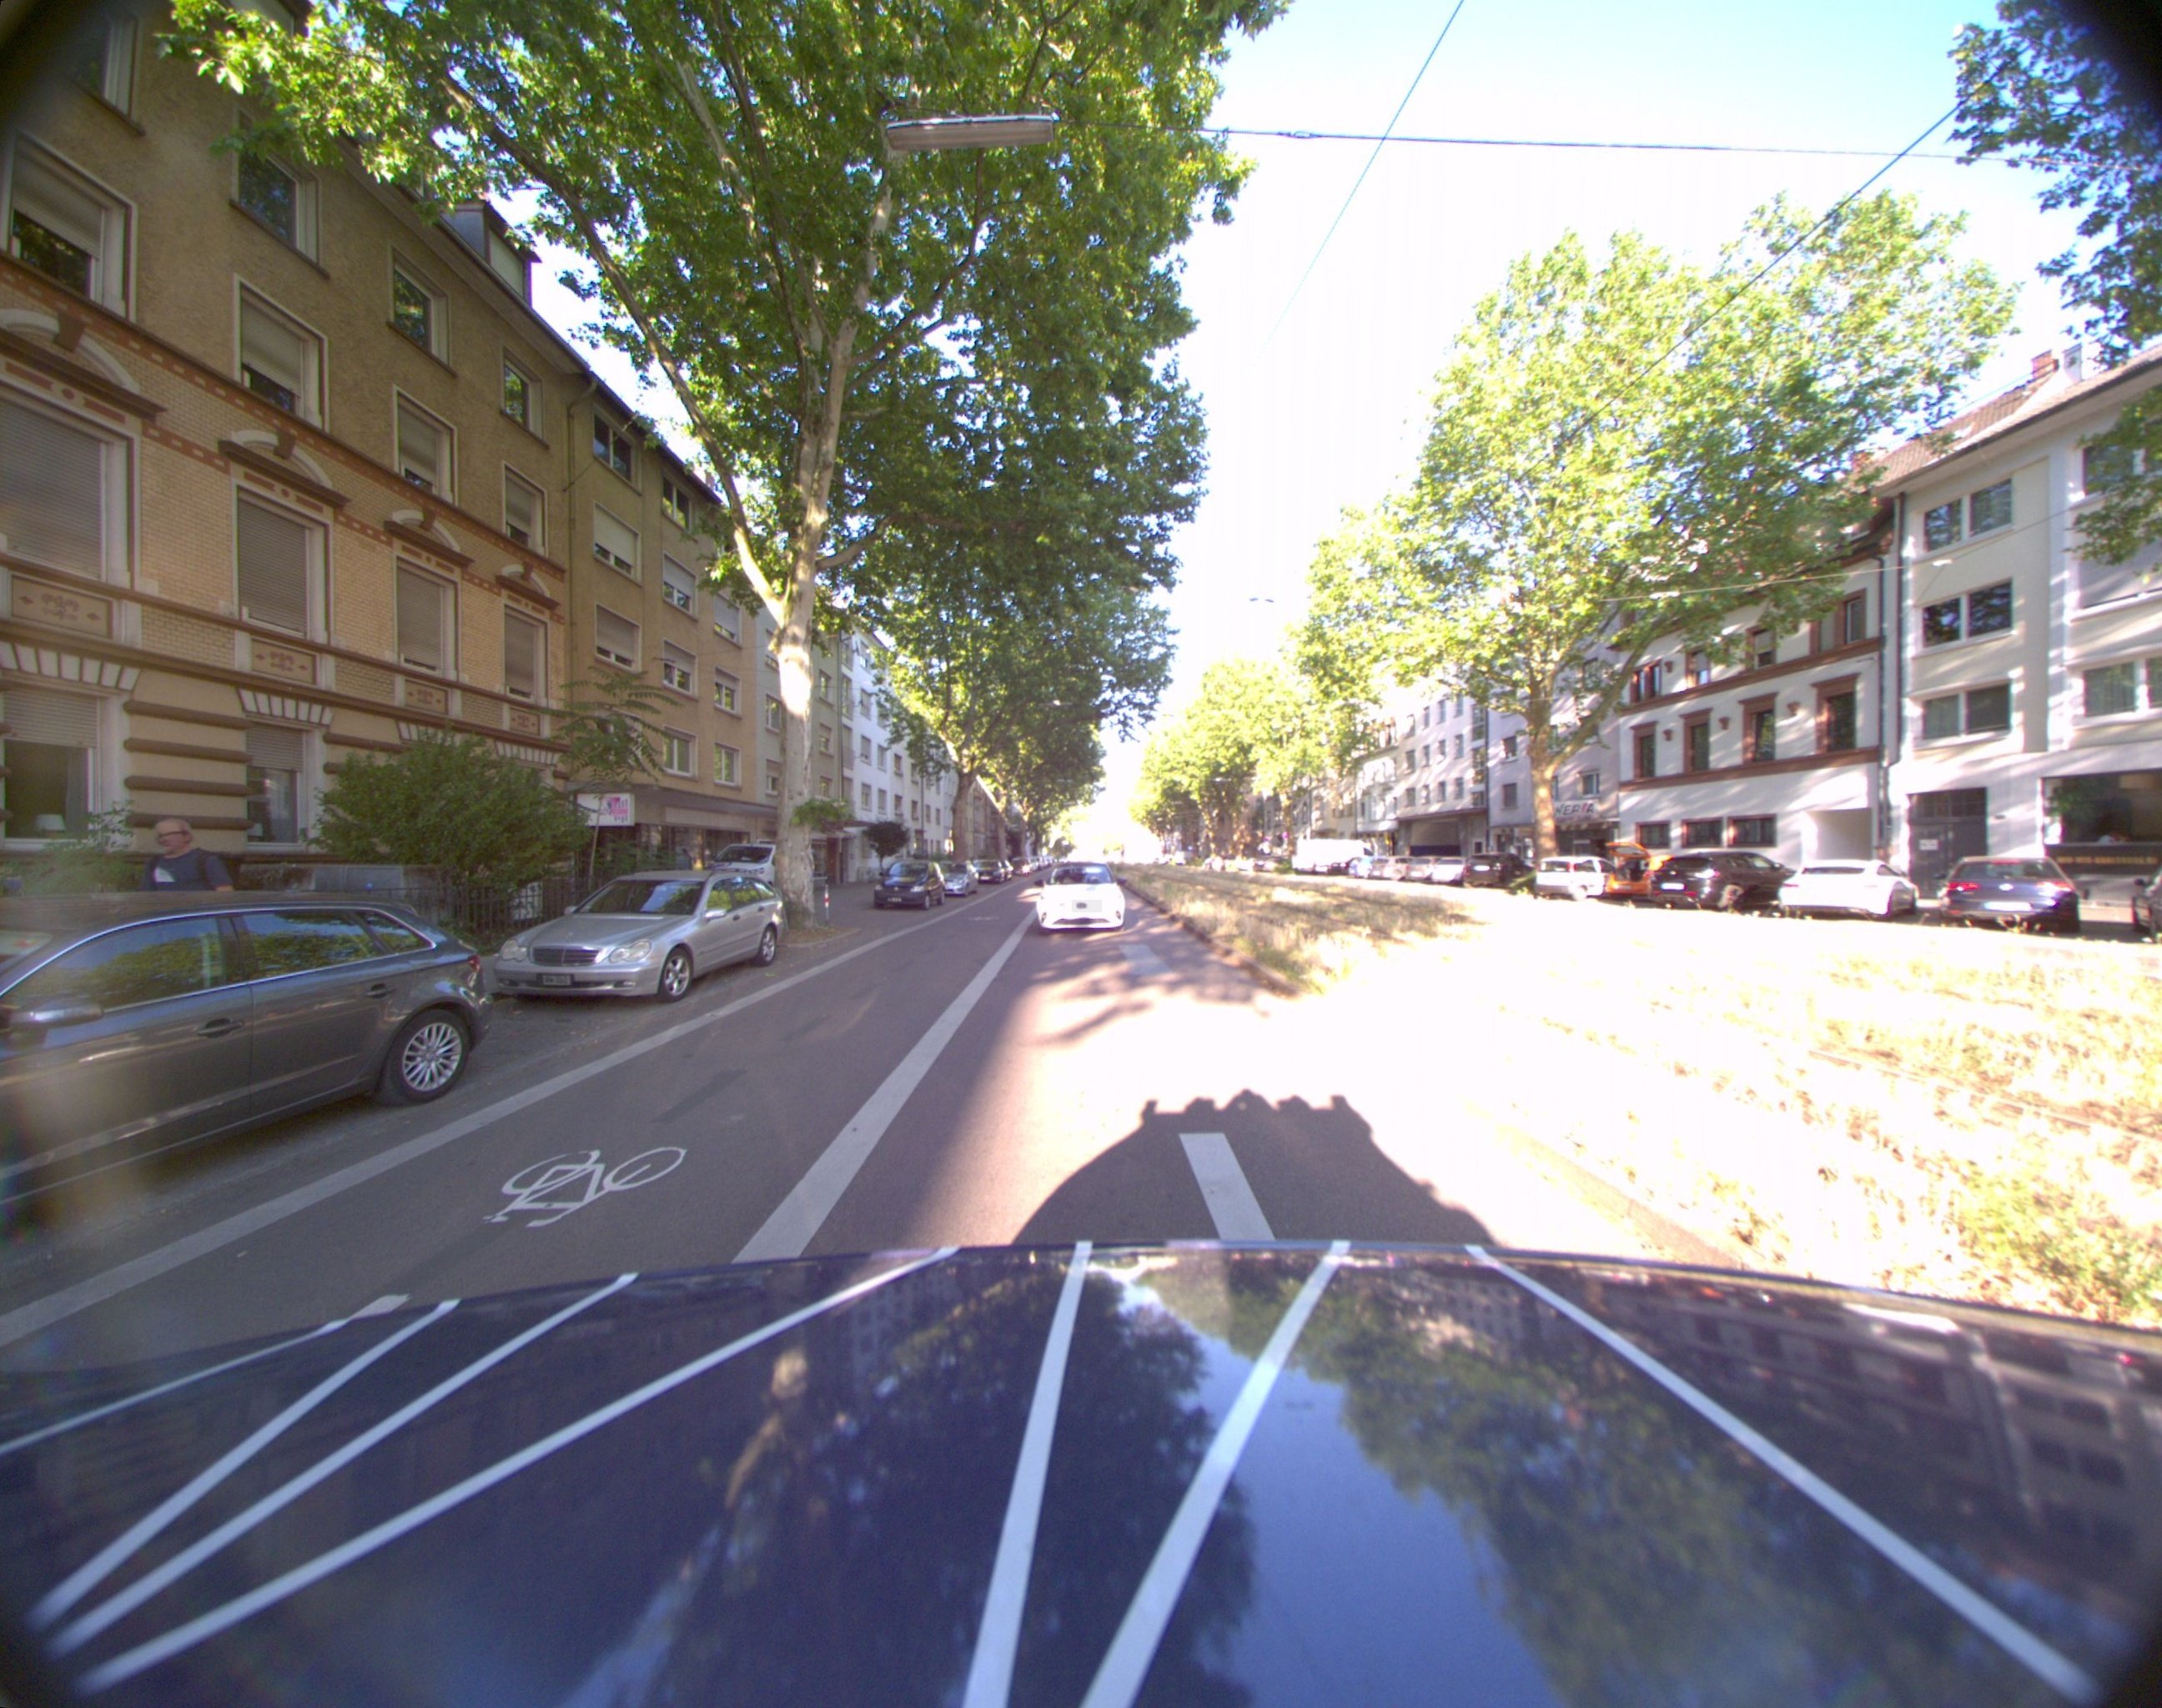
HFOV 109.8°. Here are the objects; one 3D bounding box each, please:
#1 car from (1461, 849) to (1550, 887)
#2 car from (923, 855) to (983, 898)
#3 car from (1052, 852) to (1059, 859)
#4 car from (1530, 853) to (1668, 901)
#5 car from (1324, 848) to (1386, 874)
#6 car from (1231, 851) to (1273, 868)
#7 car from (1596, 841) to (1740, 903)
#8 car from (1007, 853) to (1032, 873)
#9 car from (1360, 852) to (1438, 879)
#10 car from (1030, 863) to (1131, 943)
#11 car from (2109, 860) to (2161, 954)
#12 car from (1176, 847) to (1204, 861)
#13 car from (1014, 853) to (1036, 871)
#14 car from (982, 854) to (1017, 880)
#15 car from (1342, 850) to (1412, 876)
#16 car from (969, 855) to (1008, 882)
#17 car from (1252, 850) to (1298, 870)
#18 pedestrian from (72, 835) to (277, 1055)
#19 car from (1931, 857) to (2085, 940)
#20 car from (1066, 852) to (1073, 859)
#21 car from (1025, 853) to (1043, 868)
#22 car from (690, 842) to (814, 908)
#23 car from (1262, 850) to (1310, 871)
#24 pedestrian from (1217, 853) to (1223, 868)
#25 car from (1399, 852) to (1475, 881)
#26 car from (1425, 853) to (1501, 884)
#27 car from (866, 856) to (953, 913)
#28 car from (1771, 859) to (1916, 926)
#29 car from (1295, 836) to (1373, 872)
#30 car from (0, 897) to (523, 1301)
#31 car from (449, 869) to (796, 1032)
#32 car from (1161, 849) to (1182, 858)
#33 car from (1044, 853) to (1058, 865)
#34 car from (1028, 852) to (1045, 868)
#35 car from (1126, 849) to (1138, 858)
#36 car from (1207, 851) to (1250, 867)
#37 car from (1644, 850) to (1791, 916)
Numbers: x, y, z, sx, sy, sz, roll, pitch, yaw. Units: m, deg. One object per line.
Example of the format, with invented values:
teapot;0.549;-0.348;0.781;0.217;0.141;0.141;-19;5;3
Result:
car;19.096;0.581;34.099;4.265;1.605;1.902;-1;1;-36
car;-5.337;0.906;32.248;1.803;1.599;4.369;2;0;0
car;-8.324;0.372;244.030;1.998;2.002;4.000;-2;1;1
car;18.142;0.769;26.641;4.260;1.548;1.641;0;1;-15
car;19.754;0.454;54.861;4.005;1.805;1.995;-1;1;-27
car;18.339;0.581;81.571;4.005;1.696;1.995;-1;1;-27
car;19.448;0.564;25.182;4.260;1.932;1.514;0;1;-15
car;-5.358;0.758;66.254;1.803;1.599;4.104;2;0;-1
car;18.882;0.670;45.152;4.004;1.509;1.996;0;0;-20
car;-0.030;0.952;16.323;1.865;1.394;3.931;-2;0;0
car;19.074;0.840;12.750;3.979;1.424;1.738;-1;-1;-42
car;18.725;-0.022;130.008;4.952;2.200;2.096;-1;1;-42
car;-5.405;0.775;73.564;1.803;1.599;4.104;2;0;-1
car;-5.383;0.807;50.663;1.803;1.599;4.369;2;0;0
car;18.794;0.556;48.279;4.005;1.608;1.995;-1;0;-27
car;-5.459;0.837;45.435;1.803;1.494;4.369;2;0;0
car;18.655;0.576;73.027;4.005;1.805;1.995;-1;1;-27
pedestrian;-7.516;0.708;6.342;0.728;1.701;0.816;2;1;0
car;19.293;0.823;15.976;3.979;1.495;1.827;-1;1;-42
car;-3.420;0.410;228.776;1.998;2.002;3.999;-2;1;0
car;-5.377;0.744;86.616;1.803;1.599;4.104;2;0;-1
car;-10.372;0.591;24.377;1.933;1.864;4.677;2;0;0
car;18.833;0.584;69.755;4.005;1.805;1.995;-1;1;-27
pedestrian;15.106;0.676;82.585;0.620;1.588;0.422;0;1;1
car;19.210;0.647;40.956;4.265;1.449;1.902;-1;0;-36
car;18.975;0.678;37.679;4.265;1.451;1.598;-1;1;-36
car;-5.405;0.899;24.542;1.803;1.599;4.369;2;0;0
car;18.535;0.838;18.417;4.266;1.369;2.147;-1;0;-40
car;19.193;-0.024;57.583;5.619;2.684;2.176;-1;1;-24
car;-5.200;1.064;3.617;1.802;1.393;4.370;2;0;1
car;-5.383;1.008;9.782;1.803;1.446;4.511;2;0;-1
car;18.303;-0.048;153.731;3.994;1.802;1.874;0;1;10
car;-4.352;0.714;110.214;1.803;1.598;3.702;2;0;-1
car;-5.382;0.722;92.960;1.803;1.742;4.104;2;0;-1
car;15.310;-0.099;227.980;2.963;2.407;6.327;-2;1;1
car;16.169;0.525;83.405;4.234;1.696;1.999;0;0;-4
car;18.224;0.740;21.725;4.265;1.674;2.147;-1;1;-34
